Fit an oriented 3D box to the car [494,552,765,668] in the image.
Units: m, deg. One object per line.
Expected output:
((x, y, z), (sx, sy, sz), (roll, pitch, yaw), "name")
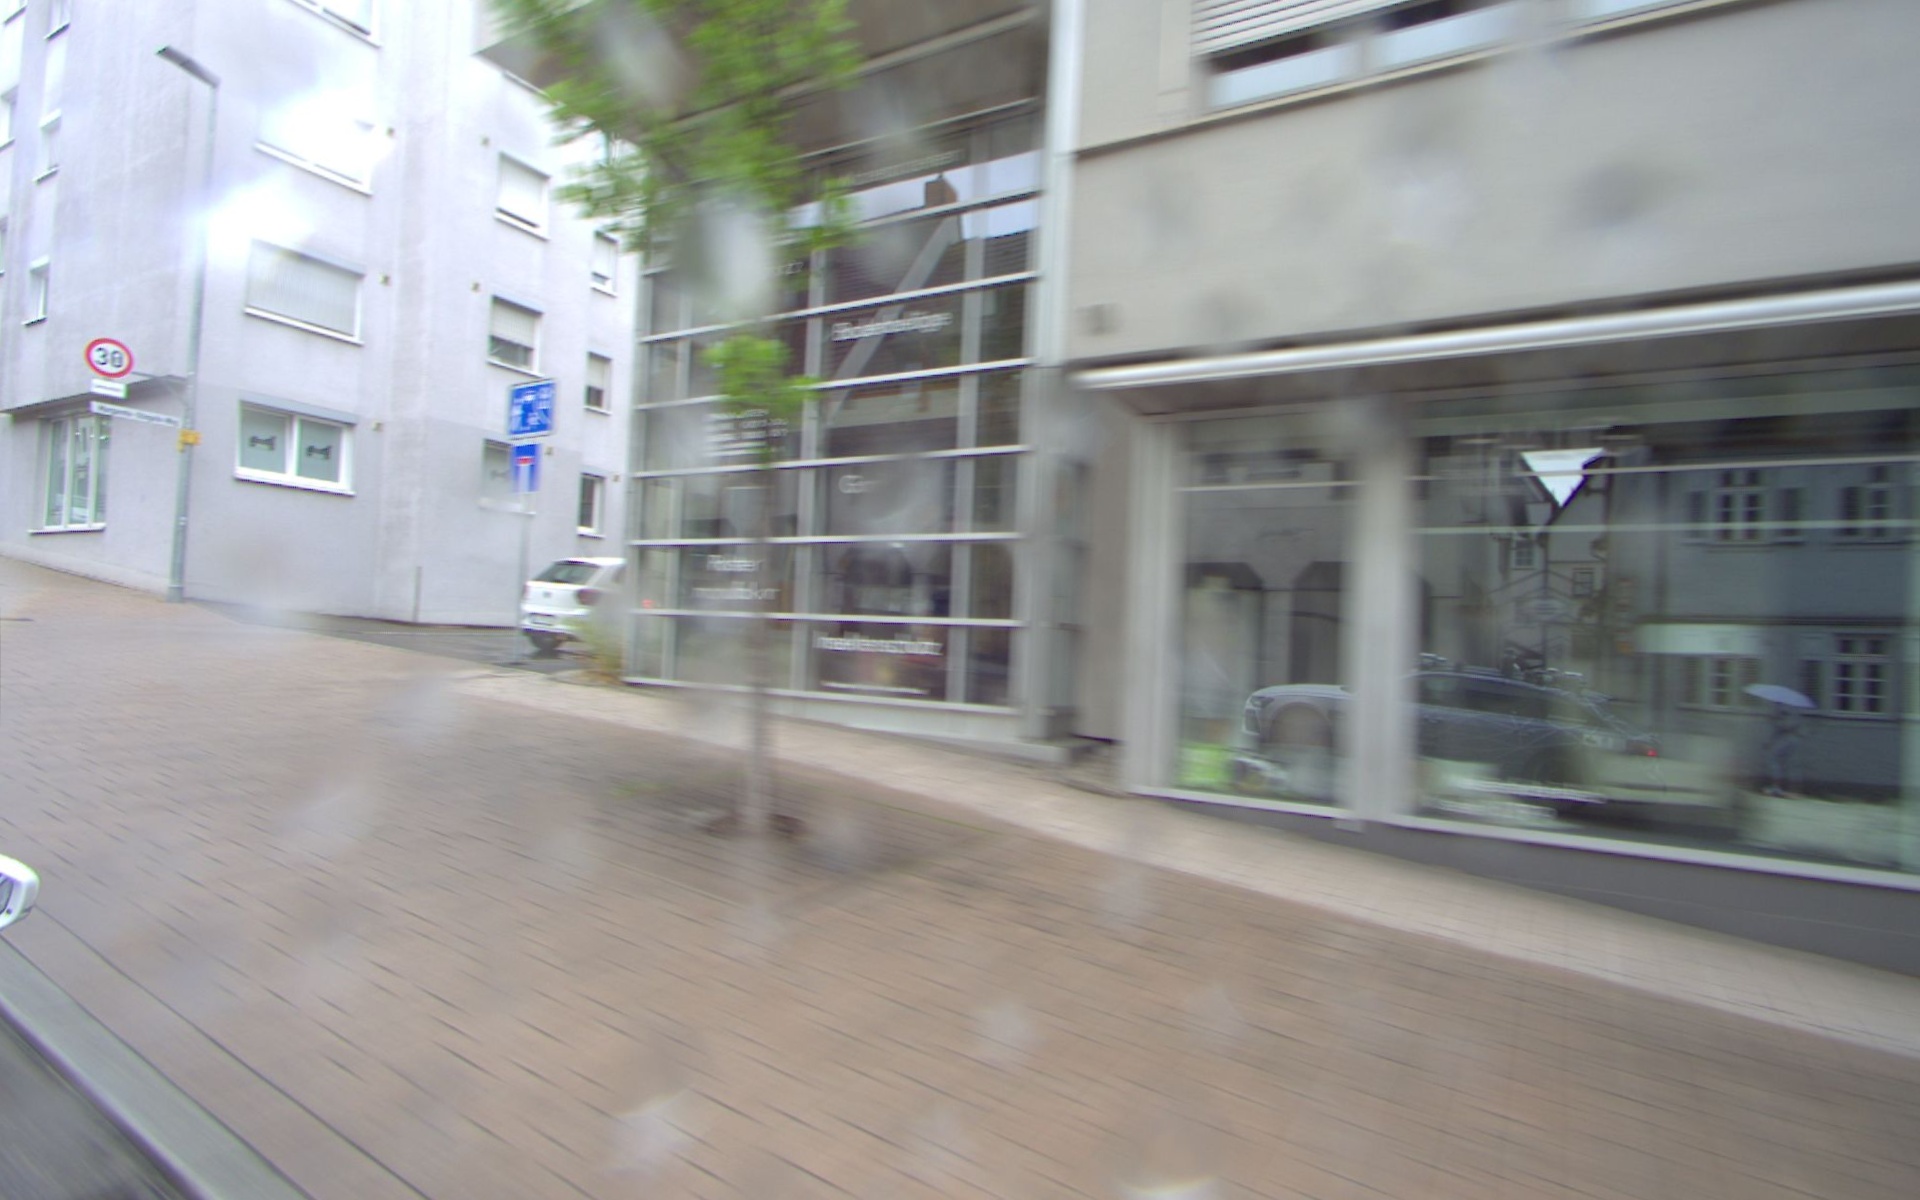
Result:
((-4.979, 0.141, 15.624), (1.714, 1.473, 3.763), (5, 2, 30), "car")
